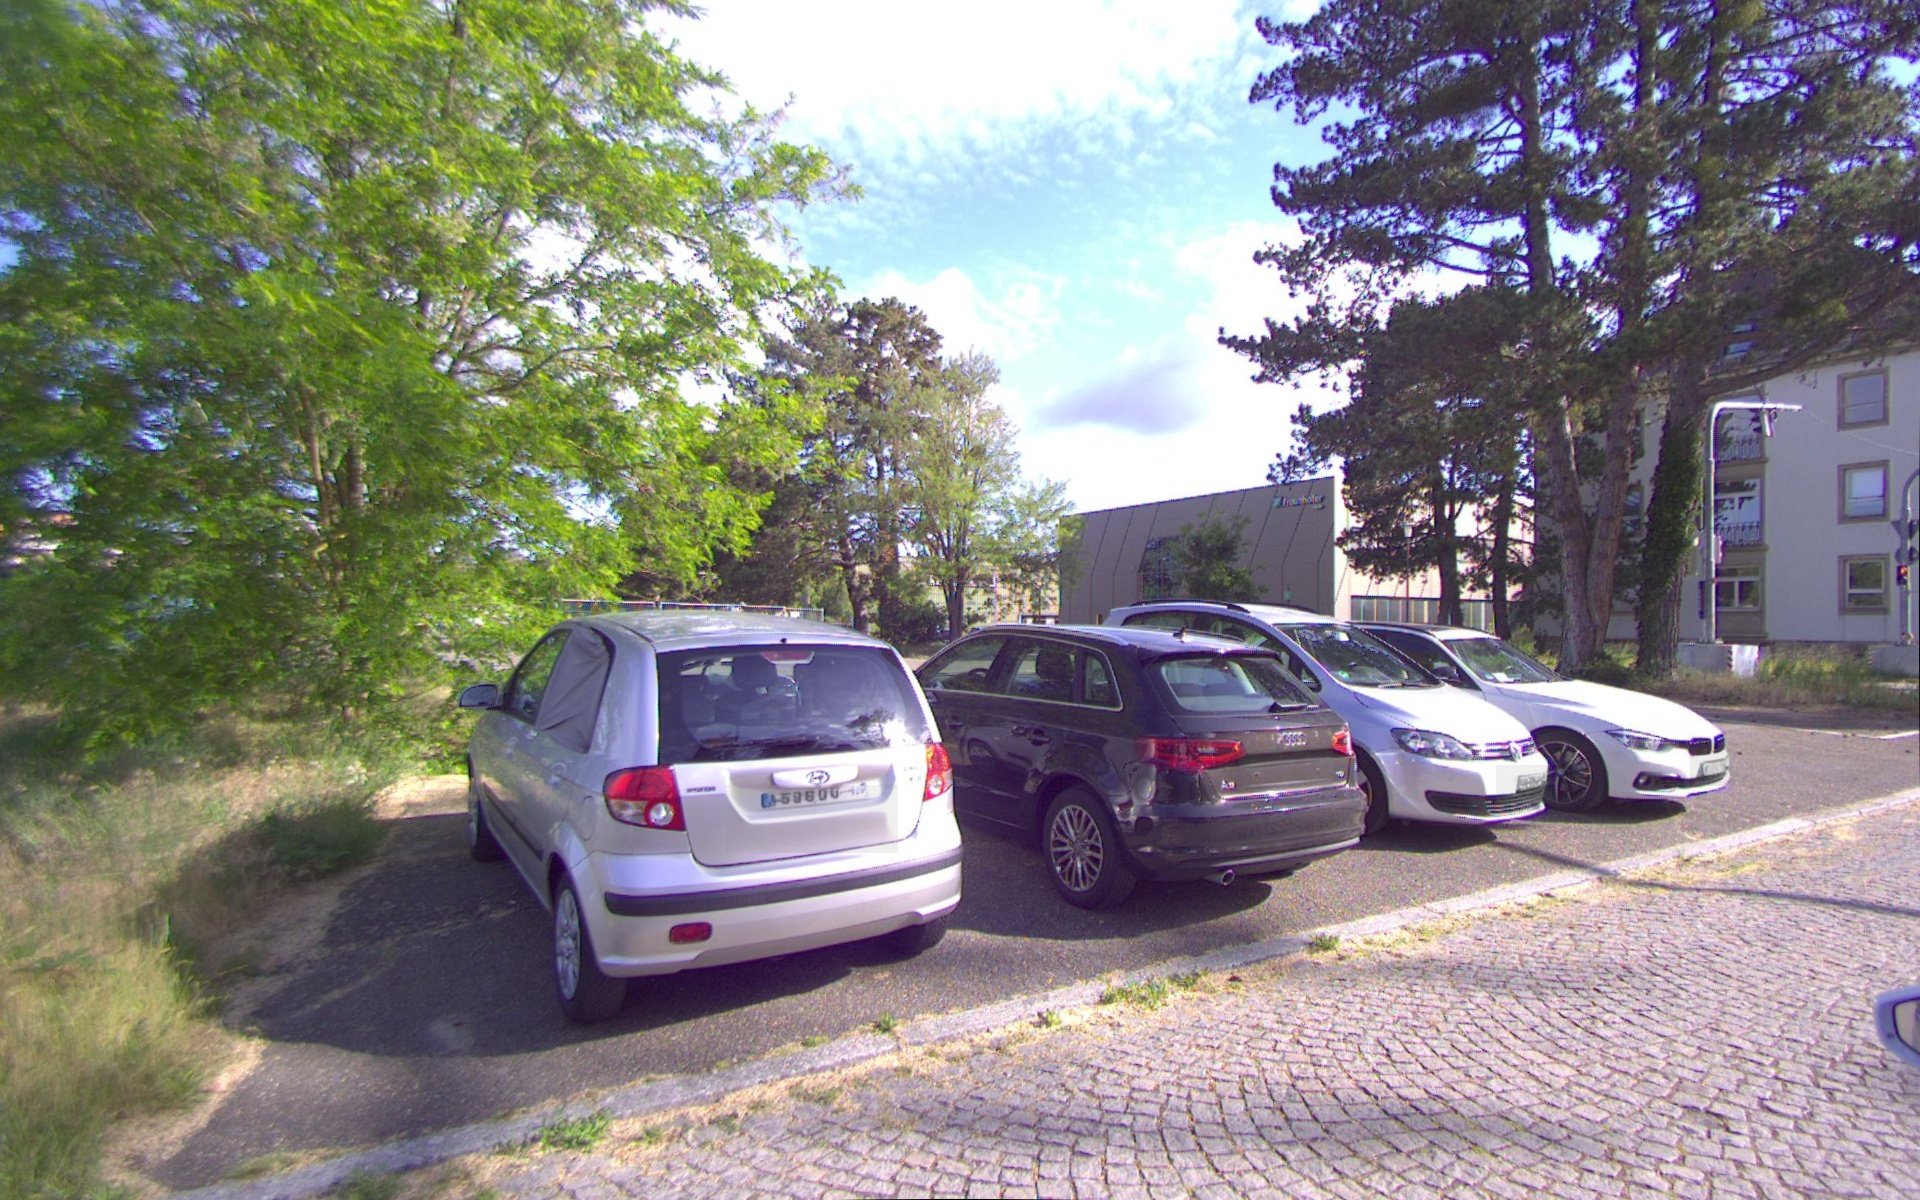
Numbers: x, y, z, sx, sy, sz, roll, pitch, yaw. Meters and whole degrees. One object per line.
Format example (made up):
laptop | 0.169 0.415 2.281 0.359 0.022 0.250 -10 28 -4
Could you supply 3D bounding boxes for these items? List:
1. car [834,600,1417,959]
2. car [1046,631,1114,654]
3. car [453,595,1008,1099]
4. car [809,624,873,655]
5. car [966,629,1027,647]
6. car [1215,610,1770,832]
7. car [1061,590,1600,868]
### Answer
car | 0.743 0.829 6.578 1.669 1.490 3.775 1 1 -32
car | 7.274 2.558 60.938 4.001 1.311 1.481 1 -1 -29
car | -1.436 0.794 5.070 1.619 1.490 3.444 1 1 -33
car | -5.582 1.815 46.822 1.726 1.388 3.595 1 -1 -29
car | 2.514 2.593 68.932 3.950 1.221 1.481 1 -1 -28
car | 4.823 0.926 9.833 1.734 1.487 4.513 1 1 -33
car | 2.789 0.808 8.373 1.705 1.648 3.917 1 1 -35
